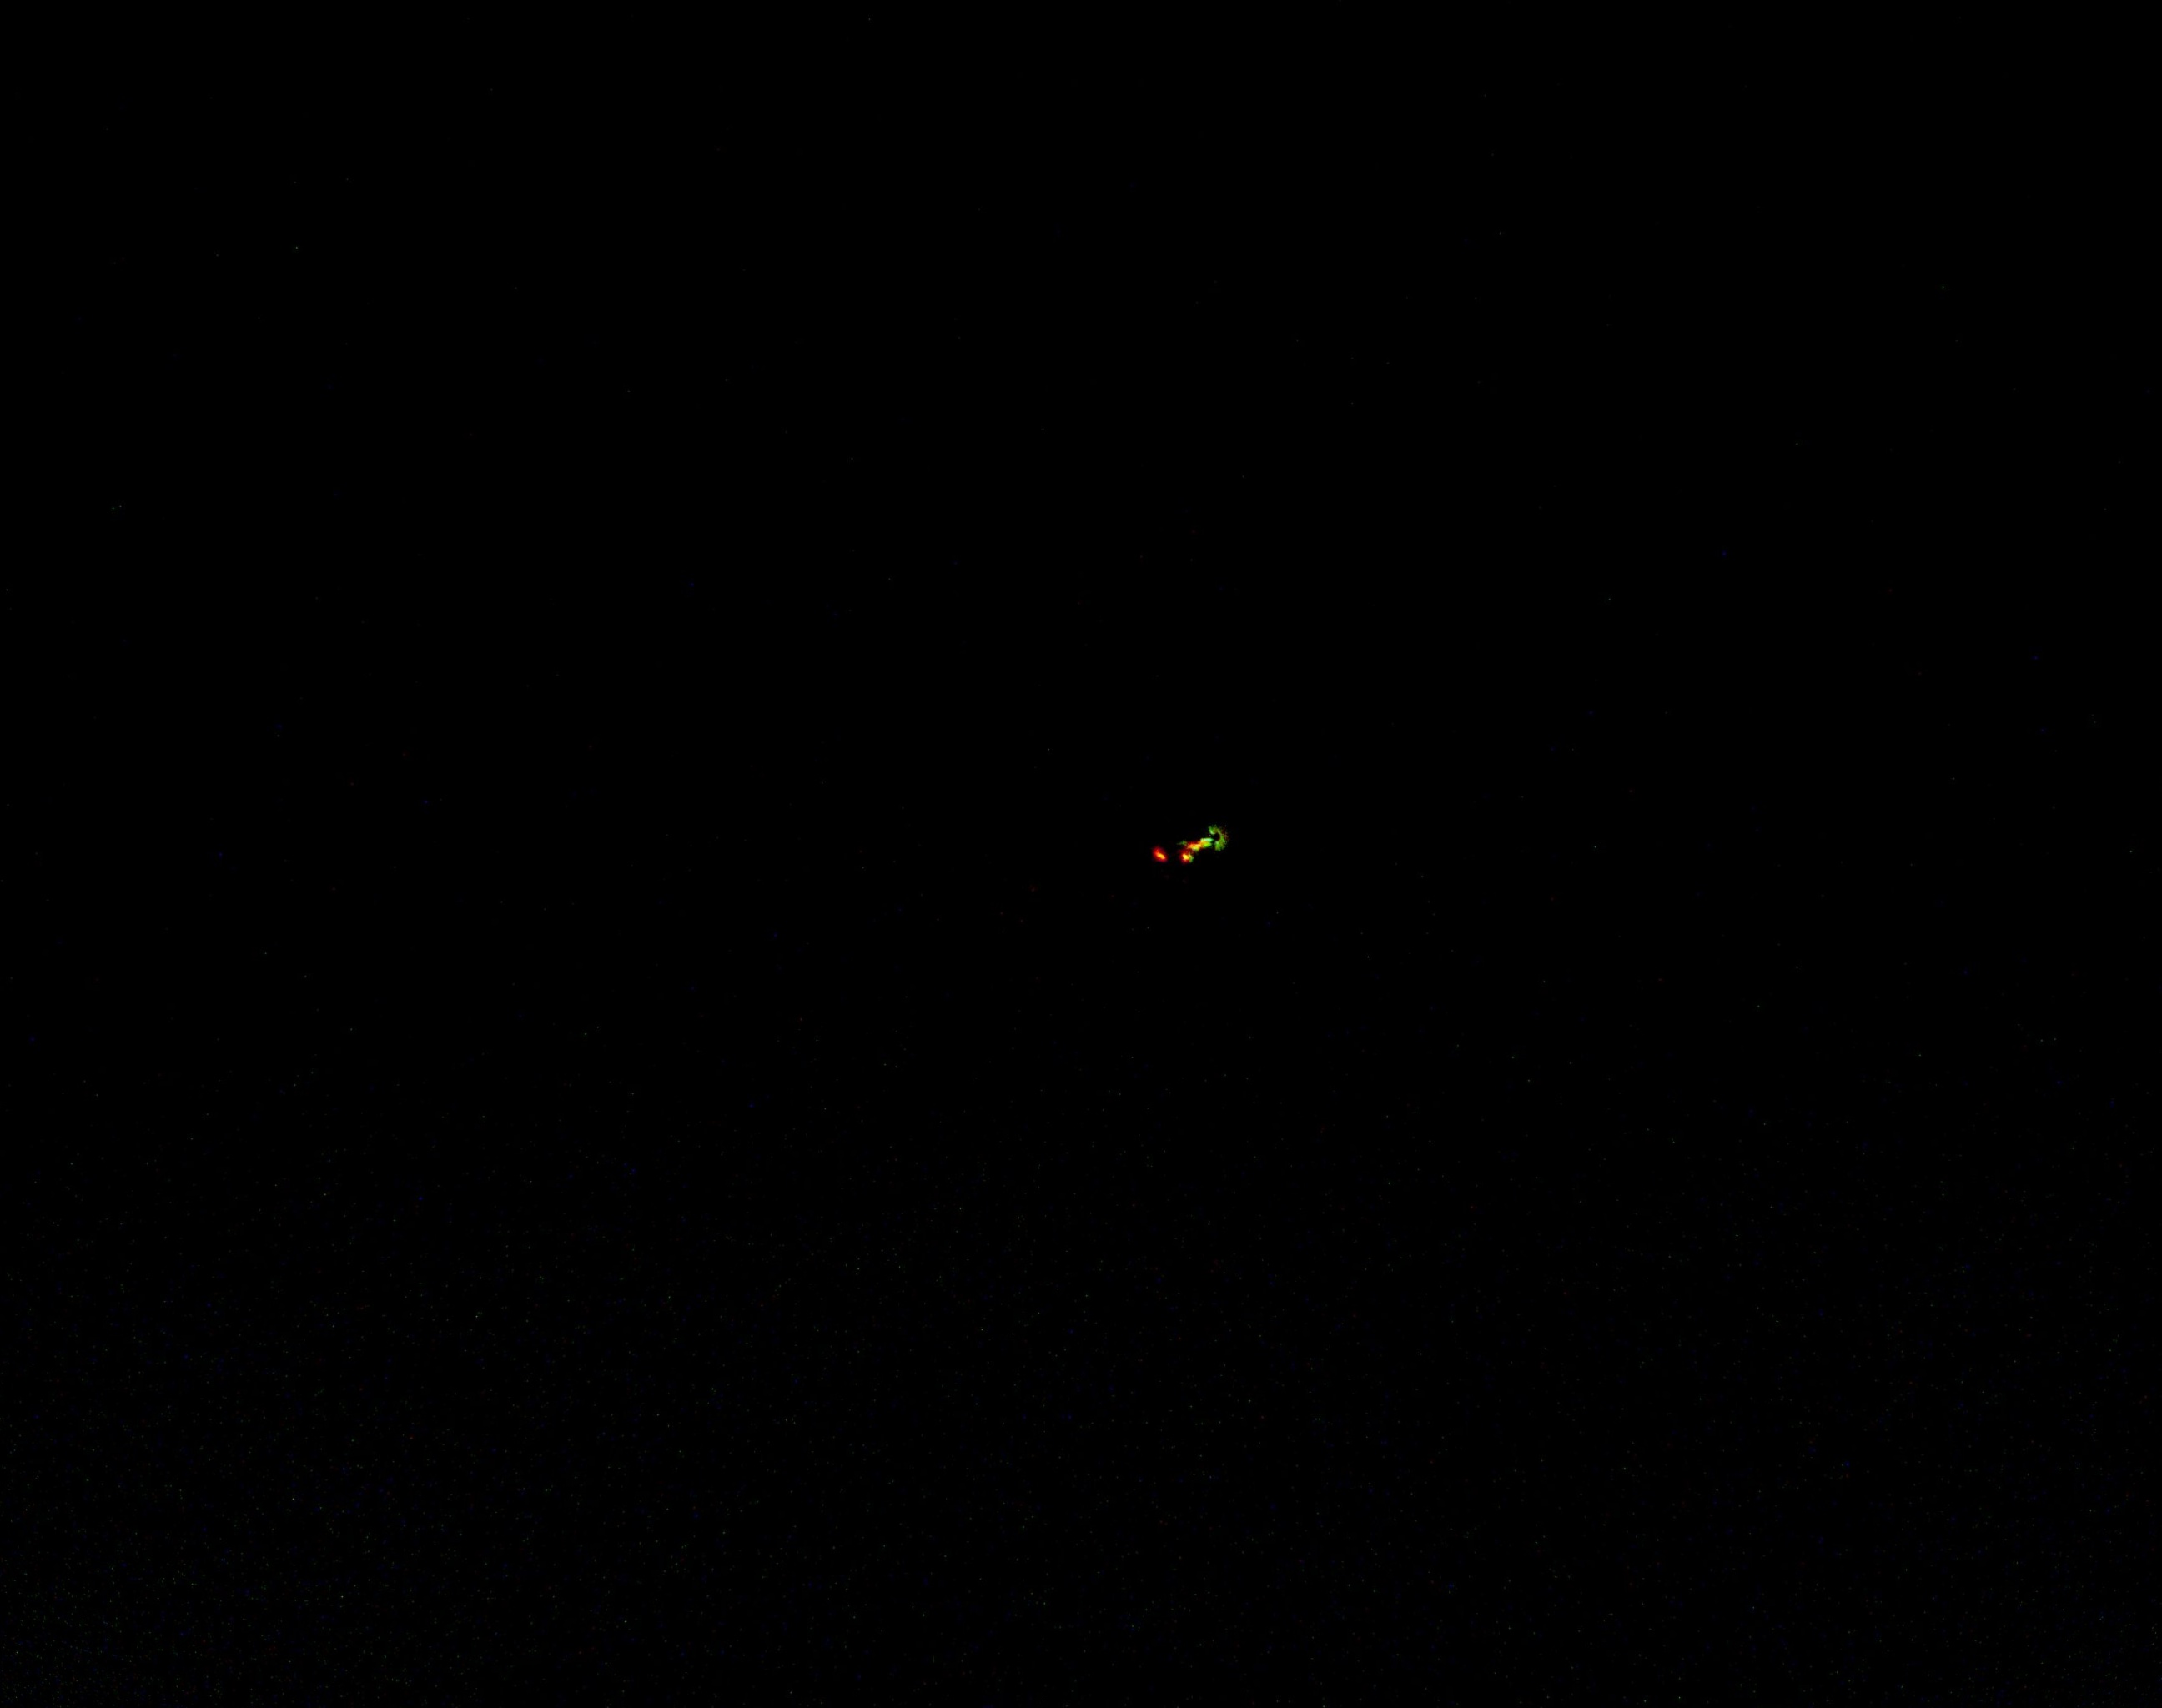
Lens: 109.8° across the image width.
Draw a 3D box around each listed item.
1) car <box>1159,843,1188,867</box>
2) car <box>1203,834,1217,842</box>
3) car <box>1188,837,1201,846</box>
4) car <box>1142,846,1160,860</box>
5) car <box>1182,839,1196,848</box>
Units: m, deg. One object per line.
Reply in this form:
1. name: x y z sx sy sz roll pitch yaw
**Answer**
1. car: 7.353 0.045 60.717 1.864 1.737 4.962 -2 2 2
2. car: 24.857 -3.091 146.400 1.773 1.475 4.386 -2 2 21
3. car: 19.270 -2.097 128.466 1.774 1.381 4.115 -2 2 13
4. car: 7.714 -0.083 84.010 1.775 1.381 4.035 -2 2 2
5. car: 16.989 -1.668 118.993 1.774 1.381 4.235 -2 2 13
